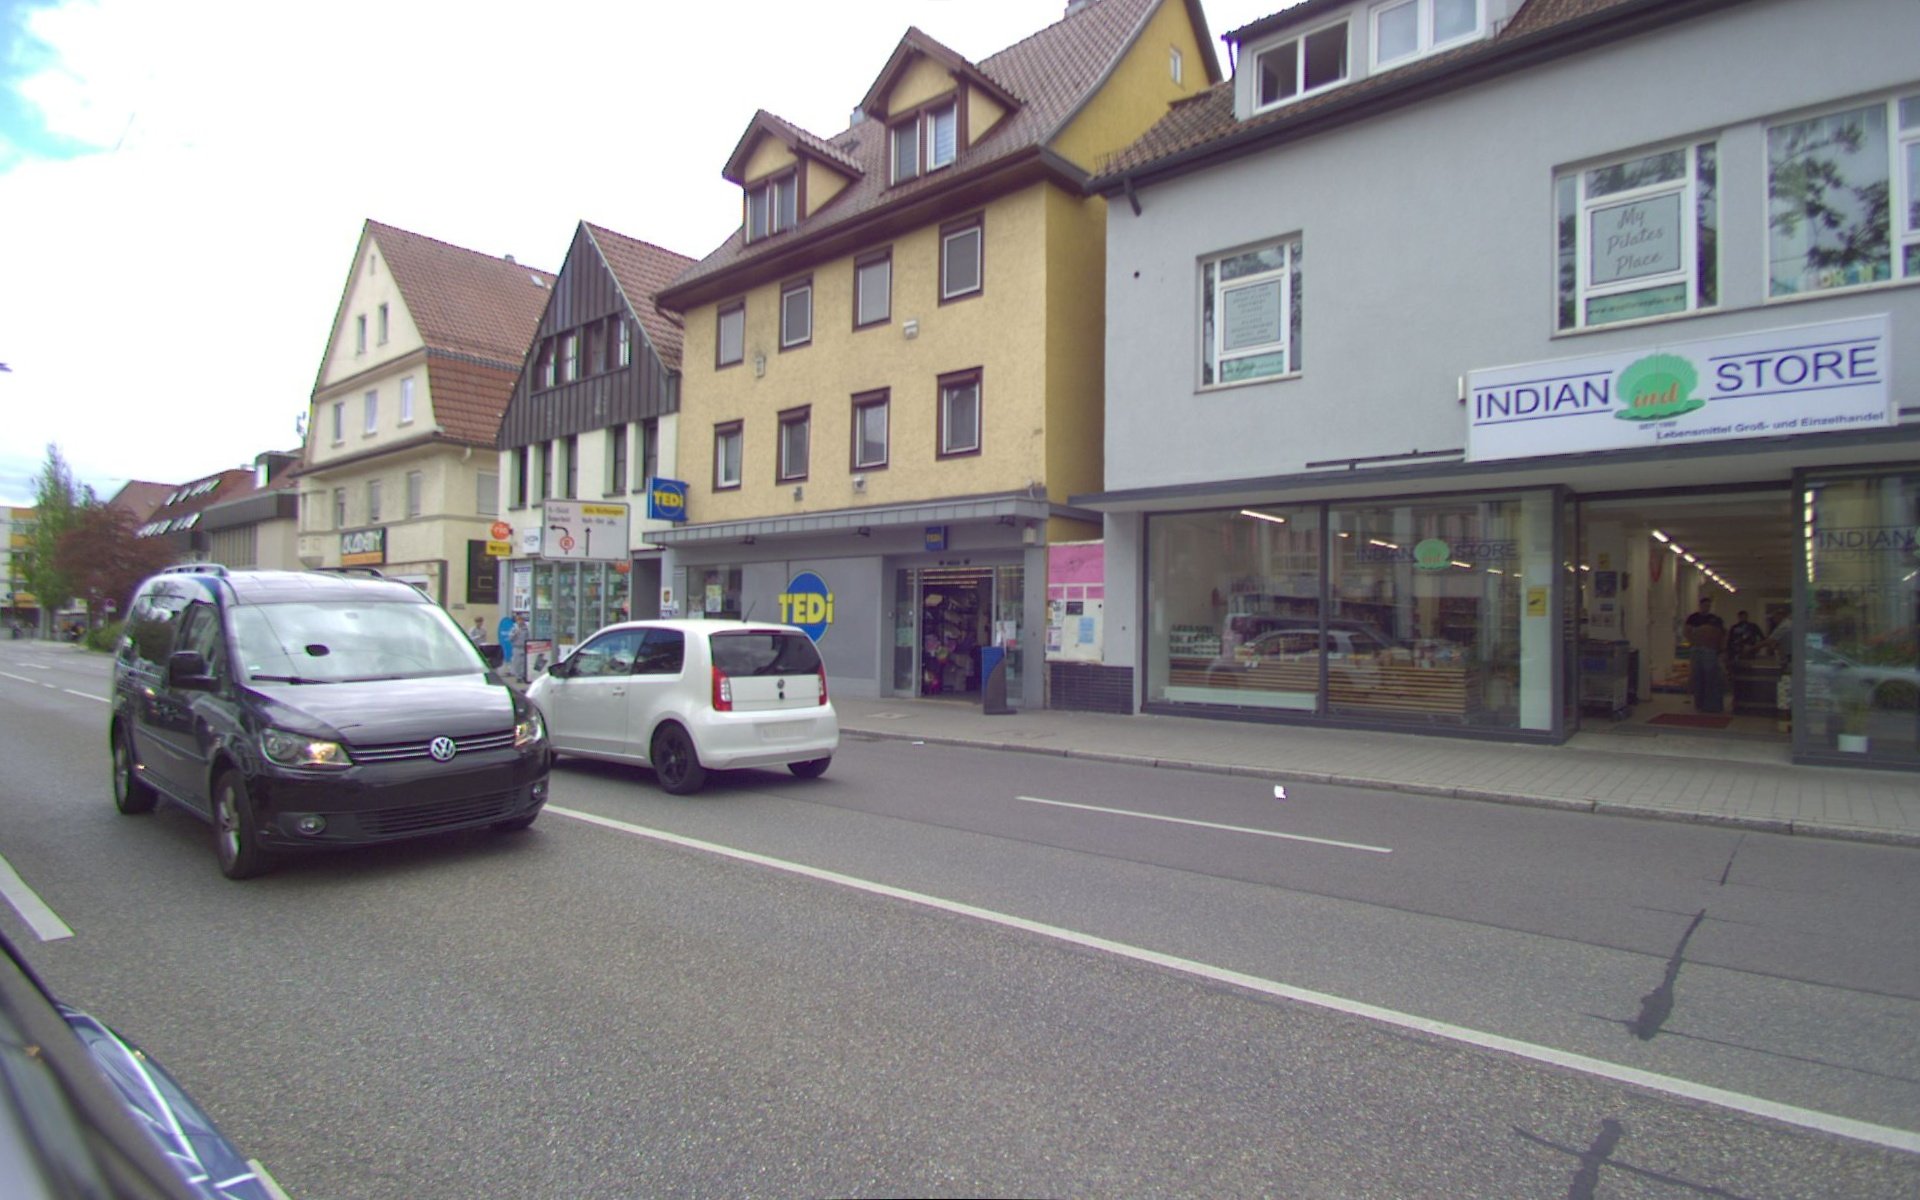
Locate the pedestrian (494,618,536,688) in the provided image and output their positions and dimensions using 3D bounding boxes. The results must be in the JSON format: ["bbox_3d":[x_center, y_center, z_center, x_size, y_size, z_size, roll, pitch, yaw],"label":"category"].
[{"bbox_3d":[-11.027,1.292,25.068,0.709,1.683,0.680,-2,0,41],"label":"pedestrian"}]

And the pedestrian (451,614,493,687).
[{"bbox_3d":[-11.728,1.203,24.321,0.742,1.703,0.680,-2,-1,41],"label":"pedestrian"}]

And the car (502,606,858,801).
[{"bbox_3d":[-2.731,0.856,9.544,3.461,1.500,1.558,-1,-3,41],"label":"car"}]

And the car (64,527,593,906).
[{"bbox_3d":[-4.654,0.614,7.134,4.628,1.869,1.727,-1,-1,39],"label":"car"}]
